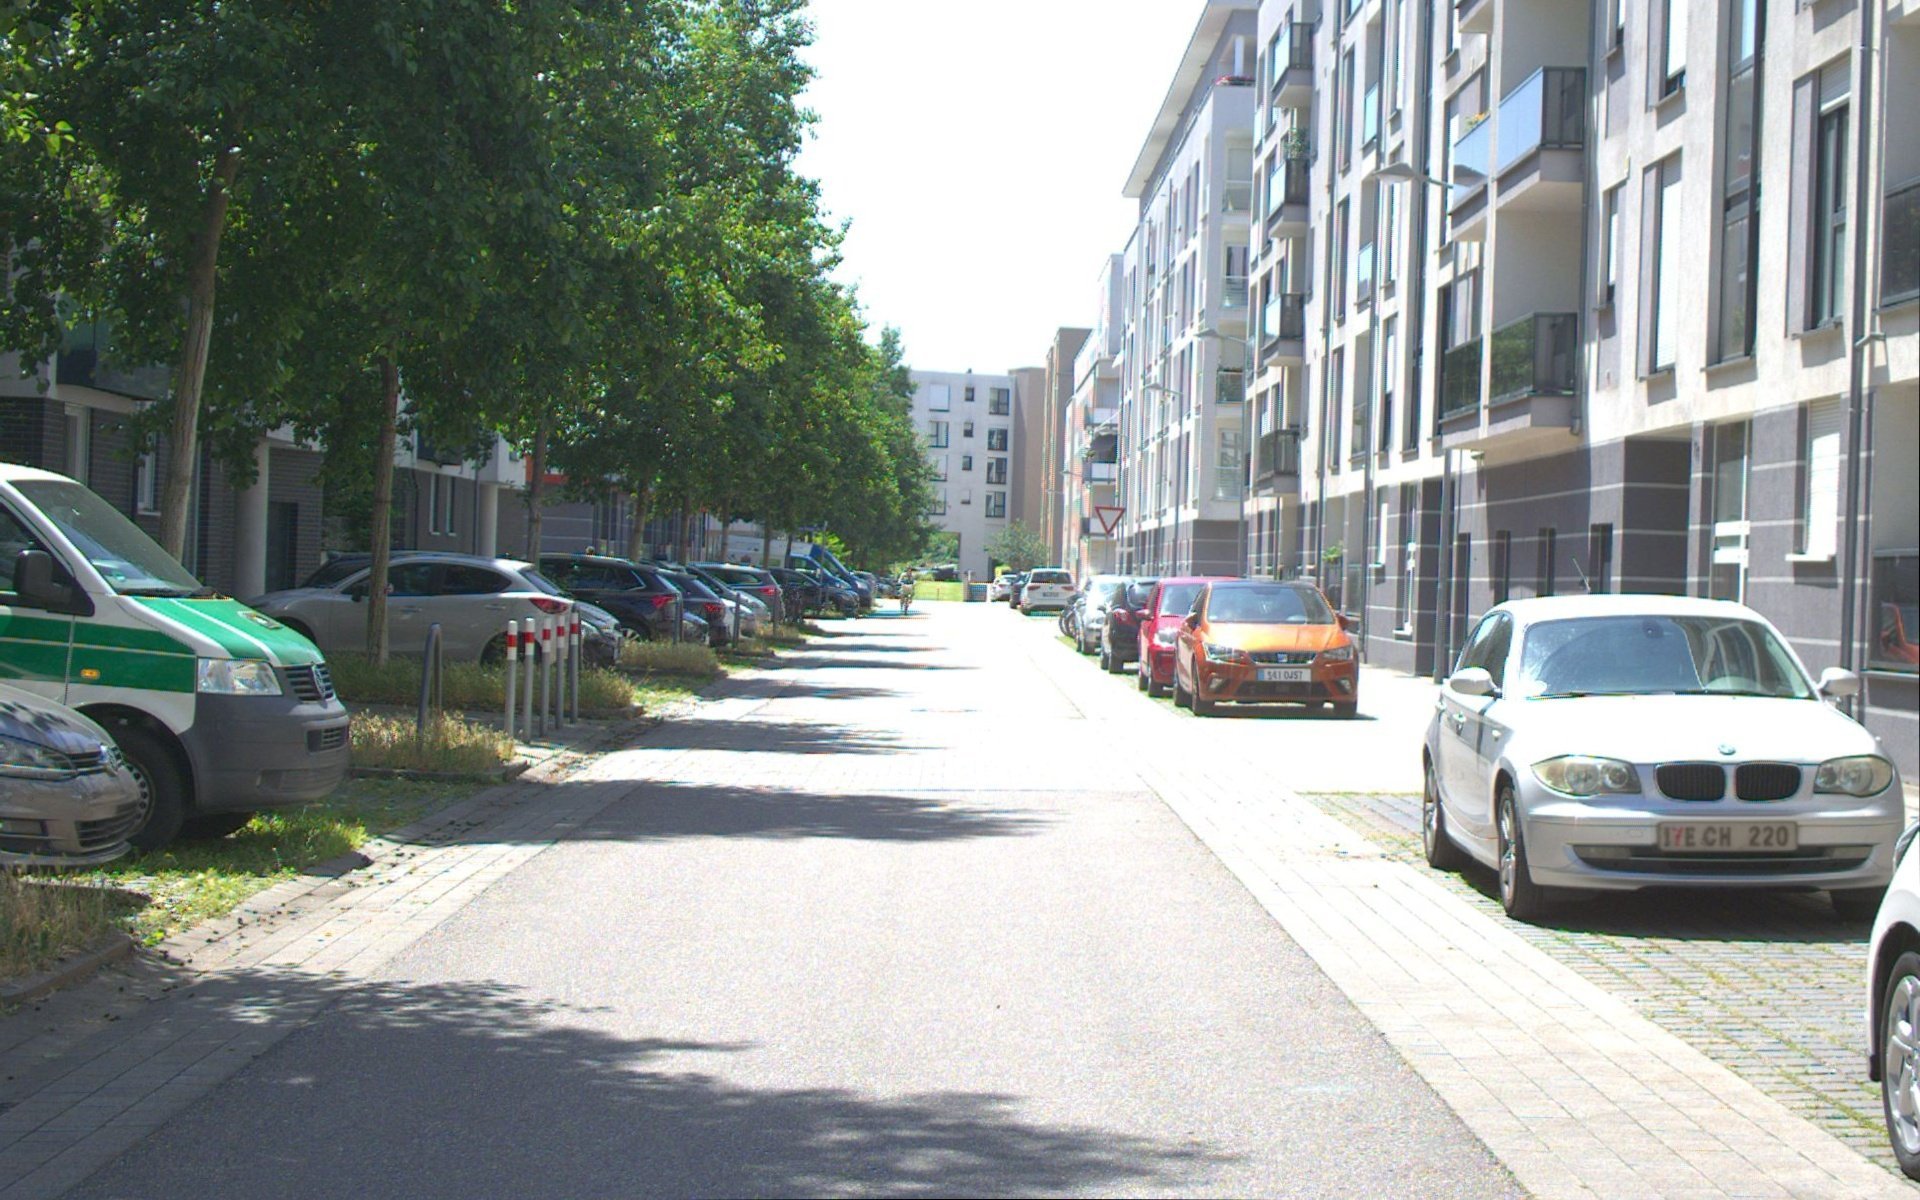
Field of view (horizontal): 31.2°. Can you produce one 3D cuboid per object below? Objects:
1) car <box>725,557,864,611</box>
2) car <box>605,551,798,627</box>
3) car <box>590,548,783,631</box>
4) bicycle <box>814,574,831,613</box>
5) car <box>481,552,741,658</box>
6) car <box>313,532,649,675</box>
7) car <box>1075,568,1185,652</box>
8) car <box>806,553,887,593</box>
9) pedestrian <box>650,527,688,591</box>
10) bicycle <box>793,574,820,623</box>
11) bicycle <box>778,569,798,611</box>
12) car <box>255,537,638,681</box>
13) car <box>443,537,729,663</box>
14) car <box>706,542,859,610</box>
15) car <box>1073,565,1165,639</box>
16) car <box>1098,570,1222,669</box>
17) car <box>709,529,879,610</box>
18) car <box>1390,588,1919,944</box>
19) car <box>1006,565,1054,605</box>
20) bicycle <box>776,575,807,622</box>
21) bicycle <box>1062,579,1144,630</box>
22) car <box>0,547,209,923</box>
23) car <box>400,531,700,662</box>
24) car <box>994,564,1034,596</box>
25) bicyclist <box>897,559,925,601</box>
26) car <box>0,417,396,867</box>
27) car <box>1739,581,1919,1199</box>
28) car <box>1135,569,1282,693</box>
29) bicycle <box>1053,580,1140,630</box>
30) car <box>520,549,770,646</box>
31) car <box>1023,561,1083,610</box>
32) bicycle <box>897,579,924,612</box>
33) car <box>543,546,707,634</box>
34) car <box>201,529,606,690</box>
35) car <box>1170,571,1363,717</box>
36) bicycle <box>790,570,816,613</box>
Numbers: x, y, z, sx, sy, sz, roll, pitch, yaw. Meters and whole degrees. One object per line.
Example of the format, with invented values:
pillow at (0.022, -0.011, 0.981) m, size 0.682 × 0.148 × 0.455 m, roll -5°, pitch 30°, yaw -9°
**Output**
car at (-5.424, -0.527, 113.034) m, size 4.383 × 1.509 × 2.075 m, roll 4°, pitch 1°, yaw 0°
car at (-5.770, -0.228, 76.993) m, size 4.180 × 1.481 × 1.959 m, roll 3°, pitch -1°, yaw -3°
car at (-5.863, -0.234, 74.097) m, size 3.937 × 1.548 × 1.872 m, roll 3°, pitch 1°, yaw 0°
bicycle at (-4.116, -0.187, 103.122) m, size 0.466 × 1.138 × 1.926 m, roll 1°, pitch 1°, yaw -2°
car at (-5.494, 0.069, 54.499) m, size 3.974 × 1.440 × 1.776 m, roll 3°, pitch 0°, yaw -4°
car at (-6.144, 0.034, 44.422) m, size 3.987 × 1.586 × 1.884 m, roll 3°, pitch 1°, yaw 1°
car at (3.150, 0.159, 64.392) m, size 1.834 × 1.499 × 4.350 m, roll 0°, pitch 1°, yaw 0°
car at (-6.082, -1.462, 184.497) m, size 3.988 × 2.007 × 1.999 m, roll 2°, pitch 0°, yaw 7°
pedestrian at (-9.183, -1.297, 108.454) m, size 1.009 × 2.007 × 1.129 m, roll 1°, pitch 0°, yaw 3°
bicycle at (-3.770, -0.052, 84.415) m, size 0.371 × 1.176 × 1.821 m, roll 1°, pitch 1°, yaw -12°
bicycle at (-5.139, -0.299, 102.917) m, size 0.434 × 1.200 × 1.700 m, roll 3°, pitch 2°, yaw 1°
car at (-6.200, 0.098, 41.862) m, size 4.316 × 1.471 × 1.793 m, roll 3°, pitch 1°, yaw 0°
car at (-5.601, -0.011, 51.854) m, size 3.987 × 1.645 × 1.918 m, roll 3°, pitch 1°, yaw 2°
car at (-6.183, -0.863, 120.224) m, size 5.145 × 2.112 × 2.311 m, roll 3°, pitch 1°, yaw 0°
car at (3.327, 0.021, 72.709) m, size 1.739 × 1.480 × 4.229 m, roll 1°, pitch 1°, yaw 0°
car at (3.044, 0.268, 53.004) m, size 1.642 × 1.457 × 4.118 m, roll 0°, pitch 1°, yaw 0°
car at (-6.050, -1.116, 125.653) m, size 6.024 × 2.807 × 2.605 m, roll 1°, pitch 0°, yaw 0°
car at (3.260, 0.685, 16.527) m, size 1.845 × 1.411 × 4.426 m, roll 2°, pitch 0°, yaw 1°
car at (2.865, -0.626, 140.268) m, size 1.758 × 1.547 × 4.000 m, roll 2°, pitch 1°, yaw 3°
bicycle at (-4.132, -0.032, 84.390) m, size 0.433 × 1.124 × 1.979 m, roll 1°, pitch 1°, yaw -12°
bicycle at (3.294, 0.099, 79.043) m, size 1.833 × 1.144 × 0.461 m, roll 1°, pitch 0°, yaw -19°
car at (-5.635, 0.479, 14.669) m, size 4.420 × 1.484 × 2.000 m, roll 2°, pitch 1°, yaw -2°
car at (-5.847, -0.057, 49.330) m, size 3.987 × 1.624 × 1.933 m, roll 3°, pitch 1°, yaw 0°
car at (2.949, -1.094, 188.821) m, size 1.993 × 1.669 × 4.000 m, roll 2°, pitch 1°, yaw -1°
bicyclist at (-1.730, -0.725, 121.956) m, size 0.954 × 1.454 × 0.800 m, roll 2°, pitch 0°, yaw 0°
car at (-5.769, 0.135, 17.509) m, size 5.342 × 2.103 × 2.187 m, roll 2°, pitch 1°, yaw 2°
car at (3.165, 0.725, 7.513) m, size 1.807 × 1.499 × 4.261 m, roll 0°, pitch 1°, yaw -2°
car at (3.091, 0.353, 43.234) m, size 1.595 × 1.480 × 3.676 m, roll 0°, pitch 1°, yaw 0°
bicycle at (3.160, 0.119, 79.410) m, size 1.924 × 1.129 × 0.609 m, roll 1°, pitch 0°, yaw 9°
car at (-5.596, -0.063, 61.515) m, size 4.360 × 1.704 × 2.000 m, roll 0°, pitch 1°, yaw -2°
car at (3.224, -0.528, 120.154) m, size 1.997 × 1.651 × 4.115 m, roll 1°, pitch 1°, yaw 1°
bicycle at (-1.752, -0.170, 122.074) m, size 0.898 × 1.125 × 2.040 m, roll 2°, pitch 1°, yaw -1°
car at (-6.500, -0.200, 66.940) m, size 2.932 × 1.495 × 1.848 m, roll 4°, pitch 1°, yaw -1°
car at (-6.324, 0.095, 39.416) m, size 4.252 × 1.512 × 1.924 m, roll 4°, pitch 1°, yaw 0°
car at (3.302, 0.437, 37.697) m, size 1.737 × 1.482 × 4.258 m, roll 0°, pitch 1°, yaw 0°
bicycle at (-4.706, -0.255, 102.907) m, size 0.570 × 1.170 × 1.769 m, roll 5°, pitch 2°, yaw -7°
